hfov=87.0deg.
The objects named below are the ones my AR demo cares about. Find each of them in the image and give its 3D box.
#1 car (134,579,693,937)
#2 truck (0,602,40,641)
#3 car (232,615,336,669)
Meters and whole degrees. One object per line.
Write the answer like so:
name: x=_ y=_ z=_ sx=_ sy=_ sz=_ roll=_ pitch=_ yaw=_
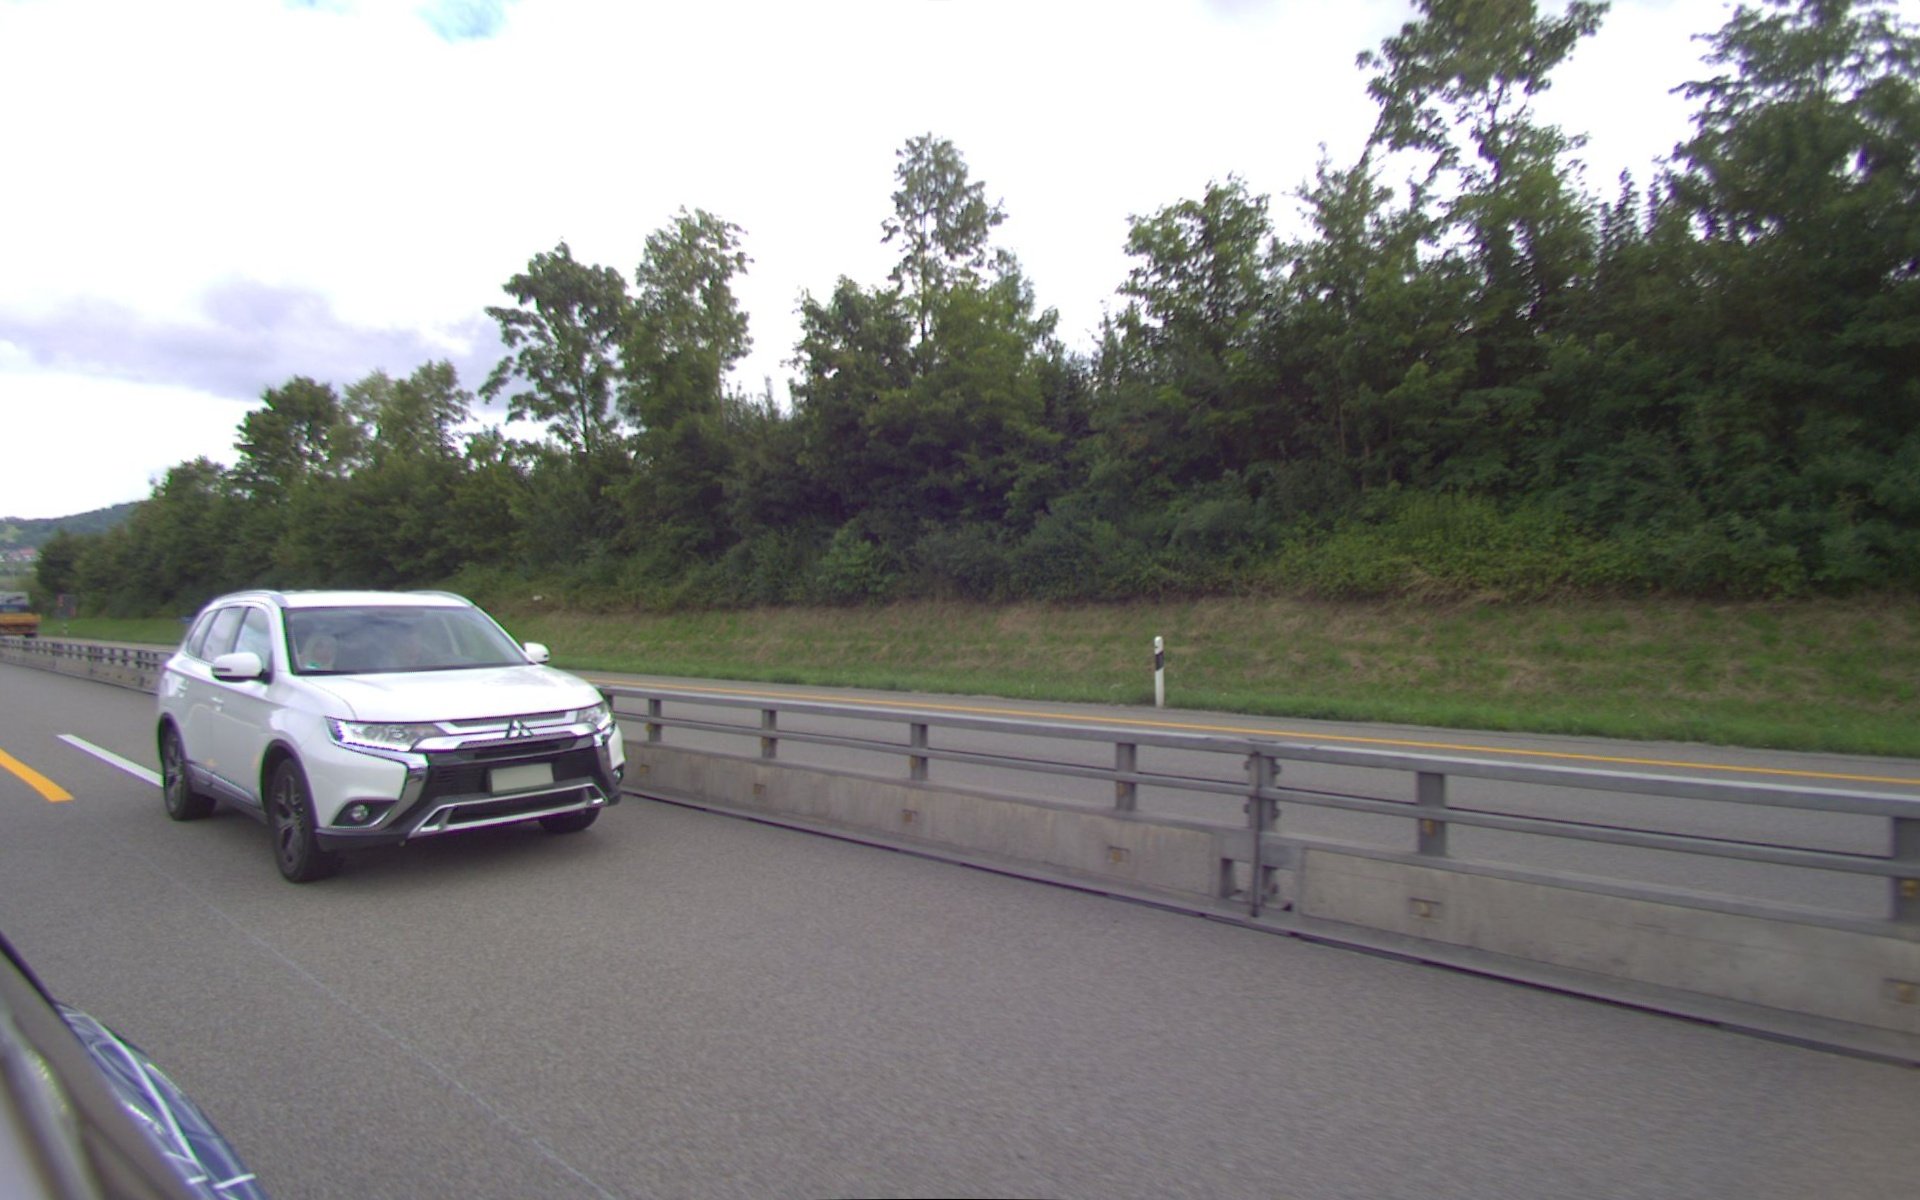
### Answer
car: x=-3.971 y=0.772 z=6.943 sx=4.606 sy=1.640 sz=1.972 roll=-1 pitch=-1 yaw=42
truck: x=-71.145 y=1.605 z=75.918 sx=6.664 sy=2.738 sz=2.464 roll=-1 pitch=-1 yaw=42
car: x=-20.771 y=1.253 z=31.054 sx=3.948 sy=1.562 sz=1.664 roll=-1 pitch=-2 yaw=41
